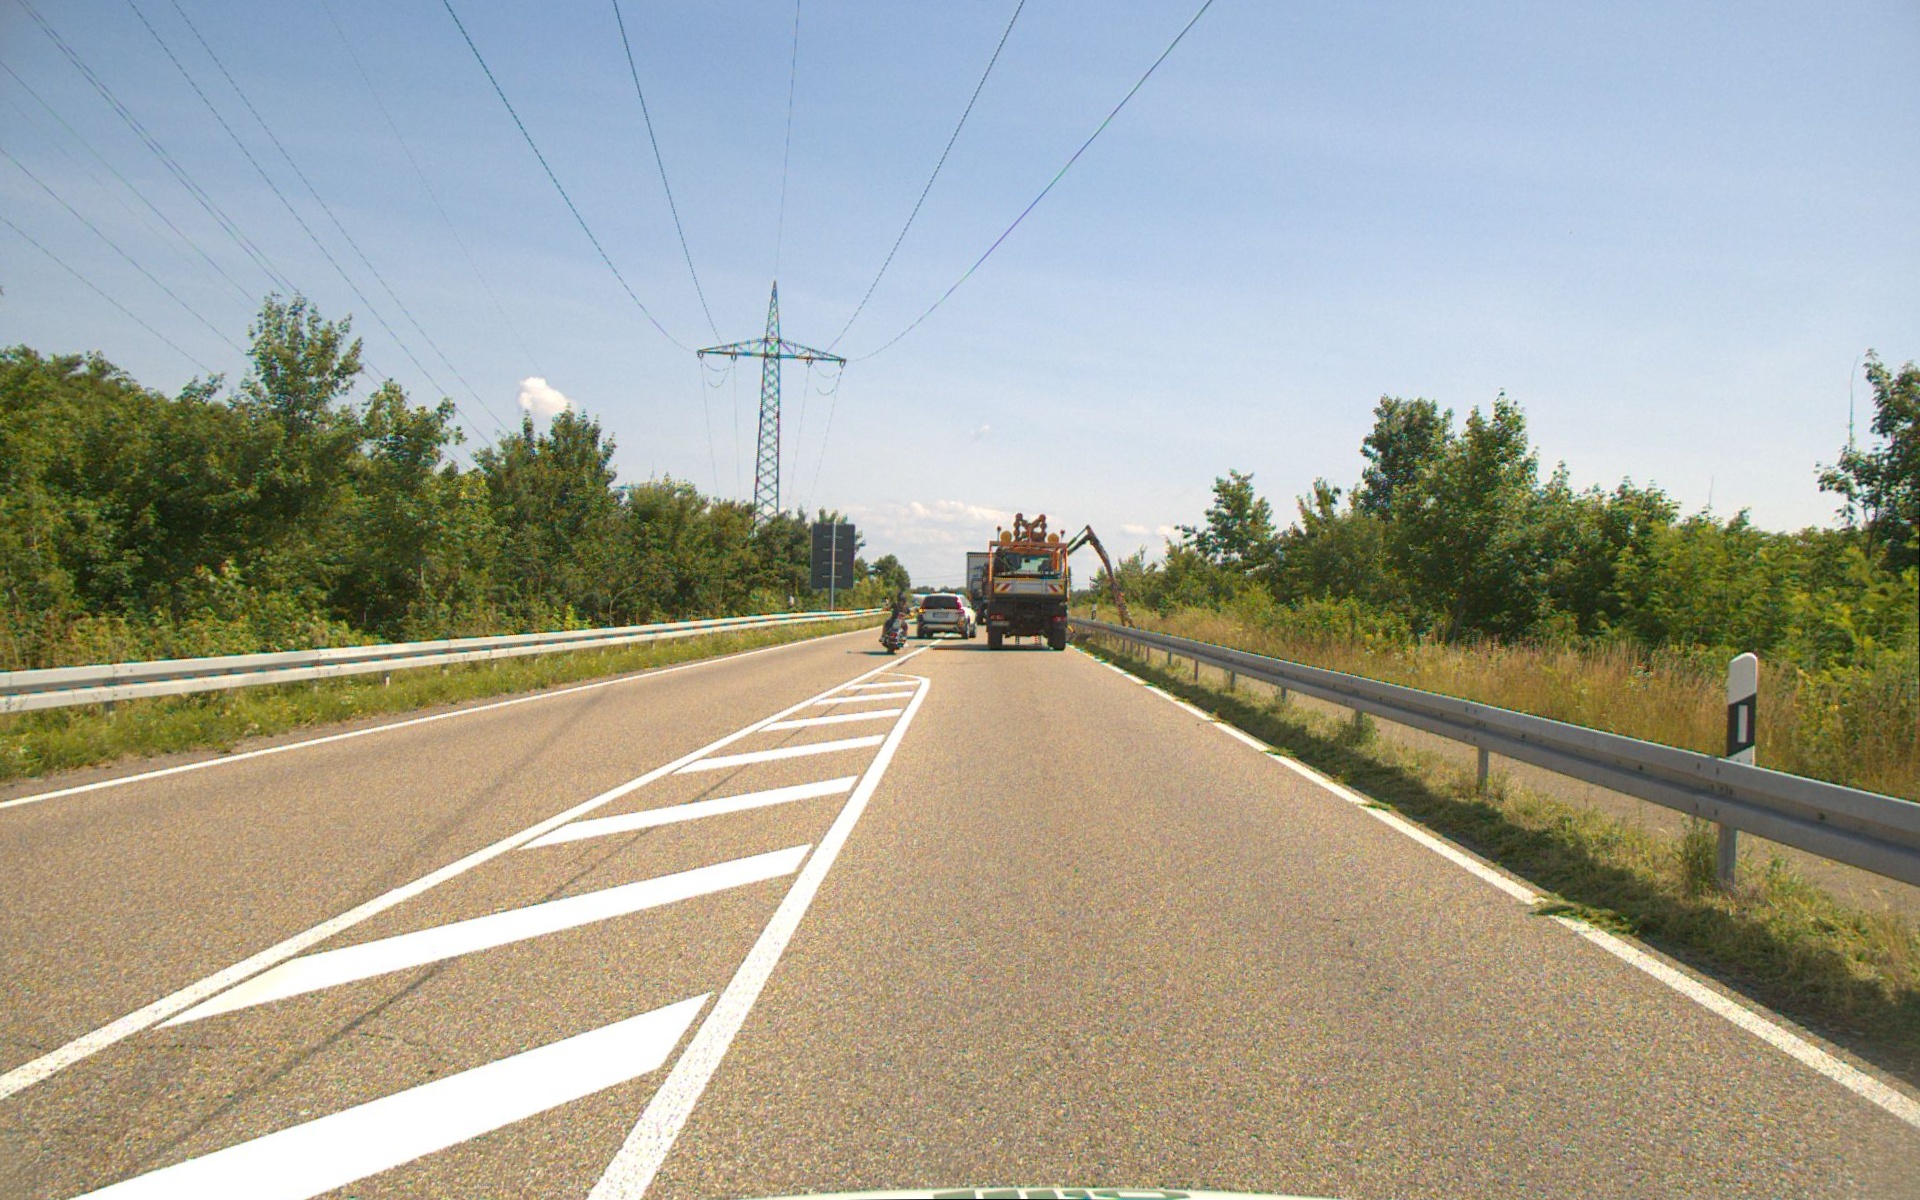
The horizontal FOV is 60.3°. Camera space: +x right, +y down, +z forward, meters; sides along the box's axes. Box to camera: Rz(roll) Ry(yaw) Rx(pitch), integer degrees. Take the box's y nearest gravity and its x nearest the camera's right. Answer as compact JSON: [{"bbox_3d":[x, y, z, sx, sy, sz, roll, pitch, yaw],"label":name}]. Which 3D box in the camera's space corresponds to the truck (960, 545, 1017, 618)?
[{"bbox_3d":[1.715,-1.016,98.168,3.174,4.048,9.445,1,0,1],"label":"truck"}]

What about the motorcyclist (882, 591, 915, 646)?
[{"bbox_3d":[-1.554,0.465,41.676,0.764,1.349,0.813,1,0,1],"label":"motorcyclist"}]

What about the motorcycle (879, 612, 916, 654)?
[{"bbox_3d":[-1.564,0.808,41.565,0.764,0.992,2.362,1,0,1],"label":"motorcycle"}]

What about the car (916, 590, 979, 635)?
[{"bbox_3d":[-0.401,0.413,58.114,1.787,1.477,4.003,1,0,5],"label":"car"}]

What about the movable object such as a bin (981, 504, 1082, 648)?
[{"bbox_3d":[2.102,-0.685,49.990,2.696,3.906,9.447,1,0,2],"label":"movable object such as a bin"}]
